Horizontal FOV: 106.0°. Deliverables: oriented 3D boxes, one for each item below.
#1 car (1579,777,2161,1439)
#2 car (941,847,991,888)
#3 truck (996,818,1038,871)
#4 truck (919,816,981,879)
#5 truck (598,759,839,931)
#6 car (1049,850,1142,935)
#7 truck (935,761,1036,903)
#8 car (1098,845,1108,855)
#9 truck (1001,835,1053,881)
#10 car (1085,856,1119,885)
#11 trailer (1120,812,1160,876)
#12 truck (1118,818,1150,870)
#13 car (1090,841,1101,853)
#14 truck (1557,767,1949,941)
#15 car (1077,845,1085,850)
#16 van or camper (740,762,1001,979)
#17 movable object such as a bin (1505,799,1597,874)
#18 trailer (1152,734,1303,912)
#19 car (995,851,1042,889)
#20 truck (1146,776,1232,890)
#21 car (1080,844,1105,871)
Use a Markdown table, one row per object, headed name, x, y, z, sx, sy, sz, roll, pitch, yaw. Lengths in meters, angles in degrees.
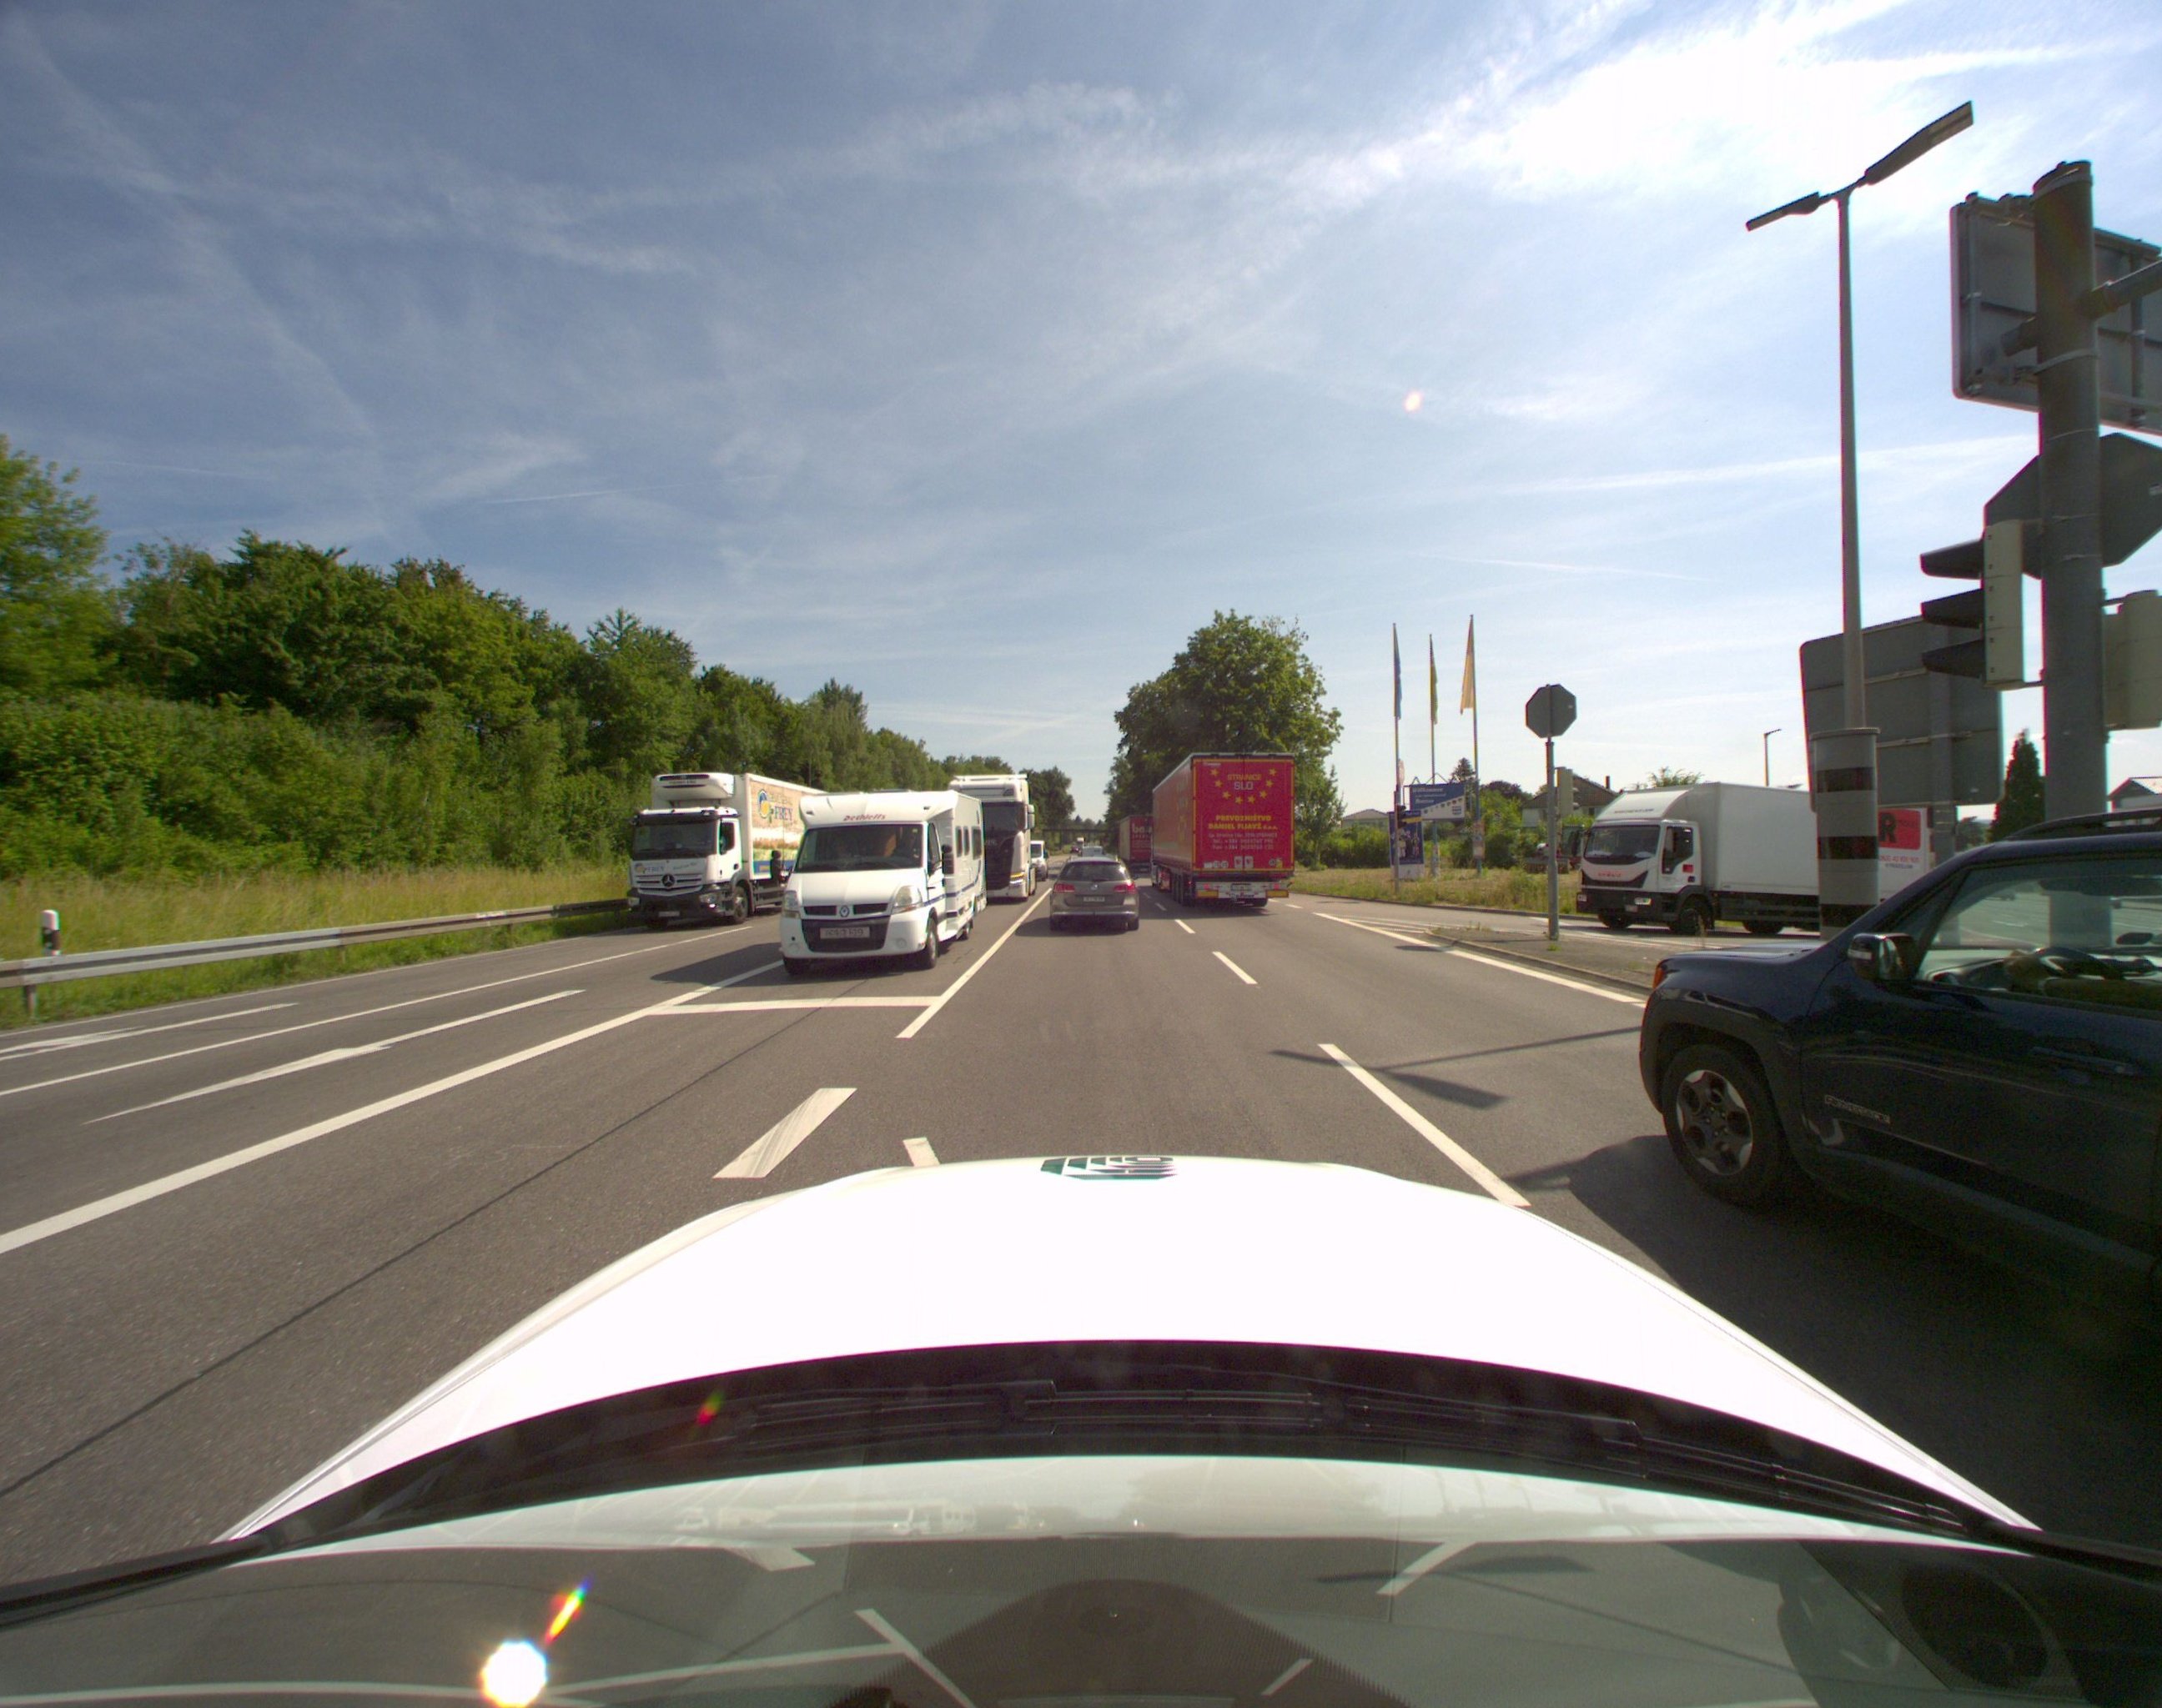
| name | x | y | z | sx | sy | sz | roll | pitch | yaw |
| --- | --- | --- | --- | --- | --- | --- | --- | --- | --- |
| car | 3.561 | 0.606 | 2.376 | 1.764 | 1.654 | 4.000 | -2 | 0 | 1 |
| car | -6.004 | 0.679 | 42.970 | 1.987 | 2.013 | 3.999 | -2 | 0 | 0 |
| truck | -4.562 | -0.624 | 59.002 | 2.336 | 3.520 | 6.696 | -2 | 0 | 0 |
| truck | -9.336 | -0.415 | 59.228 | 2.821 | 4.116 | 9.679 | -2 | 0 | 0 |
| truck | -10.093 | -0.215 | 24.261 | 2.720 | 3.999 | 9.618 | -2 | 0 | 0 |
| car | 0.268 | 0.717 | 17.077 | 1.686 | 1.513 | 3.999 | -2 | 0 | 0 |
| truck | -2.970 | -0.640 | 26.935 | 2.529 | 4.087 | 6.263 | -2 | 0 | -1 |
| car | 4.578 | -0.753 | 169.320 | 1.987 | 2.013 | 3.999 | -2 | 0 | 0 |
| truck | -2.855 | 0.205 | 44.747 | 2.219 | 2.267 | 6.500 | -2 | 0 | 1 |
| car | 1.119 | 0.873 | 45.609 | 1.765 | 1.513 | 3.999 | -2 | 0 | 0 |
| trailer | 4.327 | -0.660 | 61.844 | 2.386 | 4.243 | 13.084 | -2 | 0 | 2 |
| truck | 4.373 | -0.804 | 68.117 | 2.397 | 4.127 | 5.524 | -2 | 0 | 2 |
| car | 2.602 | -1.216 | 147.079 | 1.987 | 2.013 | 3.999 | -2 | 0 | 0 |
| truck | 17.179 | 0.157 | 20.796 | 9.690 | 3.628 | 2.752 | 3 | -2 | -16 |
| car | 0.015 | -2.006 | 246.295 | 1.955 | 1.414 | 4.003 | -2 | 0 | 2 |
| van or camper | -2.961 | 0.209 | 13.600 | 2.322 | 2.600 | 6.980 | -2 | 0 | 1 |
| movable object such as a bin | 22.423 | -0.803 | 38.667 | 2.863 | 3.207 | 6.748 | -2 | 0 | 37 |
| trailer | 4.155 | -0.750 | 26.546 | 2.829 | 4.365 | 13.170 | 0 | 0 | 1 |
| car | -2.776 | 0.695 | 36.769 | 1.705 | 1.551 | 4.109 | -2 | 0 | 0 |
| truck | 4.304 | -0.774 | 33.507 | 2.860 | 4.281 | 5.840 | 0 | 0 | 1 |
| car | 0.823 | 0.238 | 61.561 | 1.765 | 1.936 | 3.977 | -2 | 0 | 0 |
